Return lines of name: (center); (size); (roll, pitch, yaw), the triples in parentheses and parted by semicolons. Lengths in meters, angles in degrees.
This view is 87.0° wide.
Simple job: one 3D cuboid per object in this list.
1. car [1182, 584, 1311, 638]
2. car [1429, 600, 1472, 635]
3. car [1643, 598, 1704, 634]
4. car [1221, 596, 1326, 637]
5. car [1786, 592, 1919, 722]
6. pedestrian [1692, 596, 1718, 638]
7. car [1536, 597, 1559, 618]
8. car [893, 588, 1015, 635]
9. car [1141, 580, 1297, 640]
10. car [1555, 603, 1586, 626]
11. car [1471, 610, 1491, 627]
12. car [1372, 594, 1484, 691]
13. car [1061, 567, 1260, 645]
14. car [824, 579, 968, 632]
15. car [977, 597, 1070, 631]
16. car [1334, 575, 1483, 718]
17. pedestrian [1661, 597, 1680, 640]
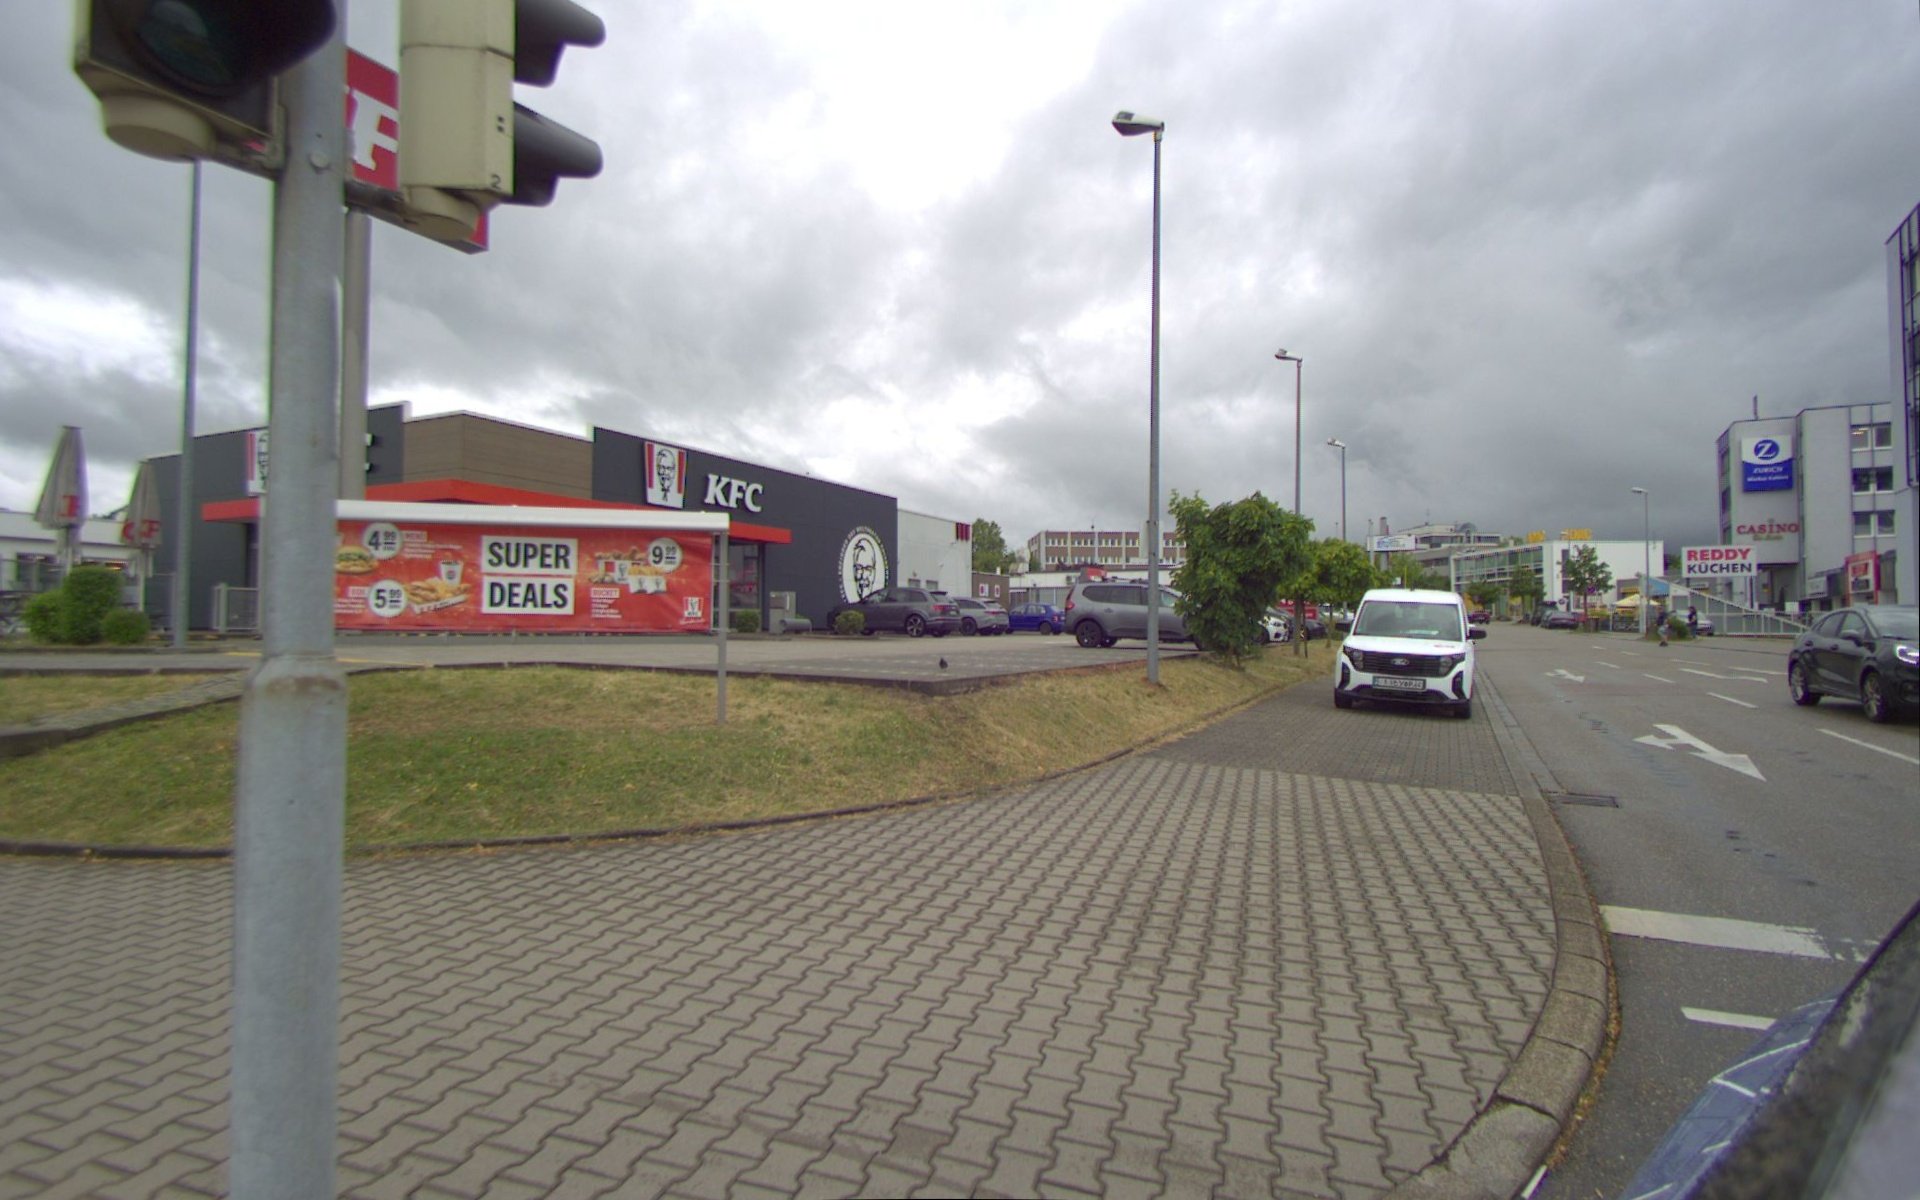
car: (10.140, 0.394, 35.872); (4.142, 1.797, 1.865); (-1, 0, 26)
car: (24.749, 0.866, 51.038); (1.807, 1.730, 3.961); (-1, -1, 28)
car: (33.781, 0.791, 48.001); (1.807, 1.631, 3.960); (-1, -2, 28)
car: (12.240, 0.646, 39.500); (3.704, 1.533, 1.721); (-1, -1, 25)
car: (13.041, 0.678, 13.678); (1.794, 1.560, 3.968); (-2, -2, 23)
pedestrian: (32.056, 0.732, 43.542); (0.577, 1.765, 0.646); (0, -1, -29)
car: (53.232, 0.703, 91.772); (1.553, 1.841, 3.868); (-2, -1, 28)
car: (-0.243, 0.464, 39.737); (4.452, 1.763, 1.877); (-1, -1, 24)
car: (8.020, 0.304, 31.295); (4.452, 1.763, 1.877); (0, -1, 24)
car: (47.167, 1.114, 78.194); (1.785, 1.694, 3.632); (-2, -1, 28)
car: (54.983, 1.935, 106.789); (1.885, 1.788, 3.961); (-2, -1, 28)
car: (9.428, 0.770, 20.240); (1.807, 1.730, 3.961); (-1, -1, 28)
car: (4.862, 0.158, 24.566); (4.452, 1.763, 1.877); (-1, -1, 24)
car: (-2.249, 0.198, 35.436); (4.690, 1.763, 1.877); (-1, -1, 24)
car: (2.954, 0.644, 46.853); (3.987, 1.505, 1.728); (0, 0, 21)
car: (6.889, 0.593, 15.302); (1.782, 1.806, 4.208); (1, 0, 27)
pedestrian: (28.732, 0.751, 40.948); (0.546, 1.730, 0.514); (-2, -2, 30)
